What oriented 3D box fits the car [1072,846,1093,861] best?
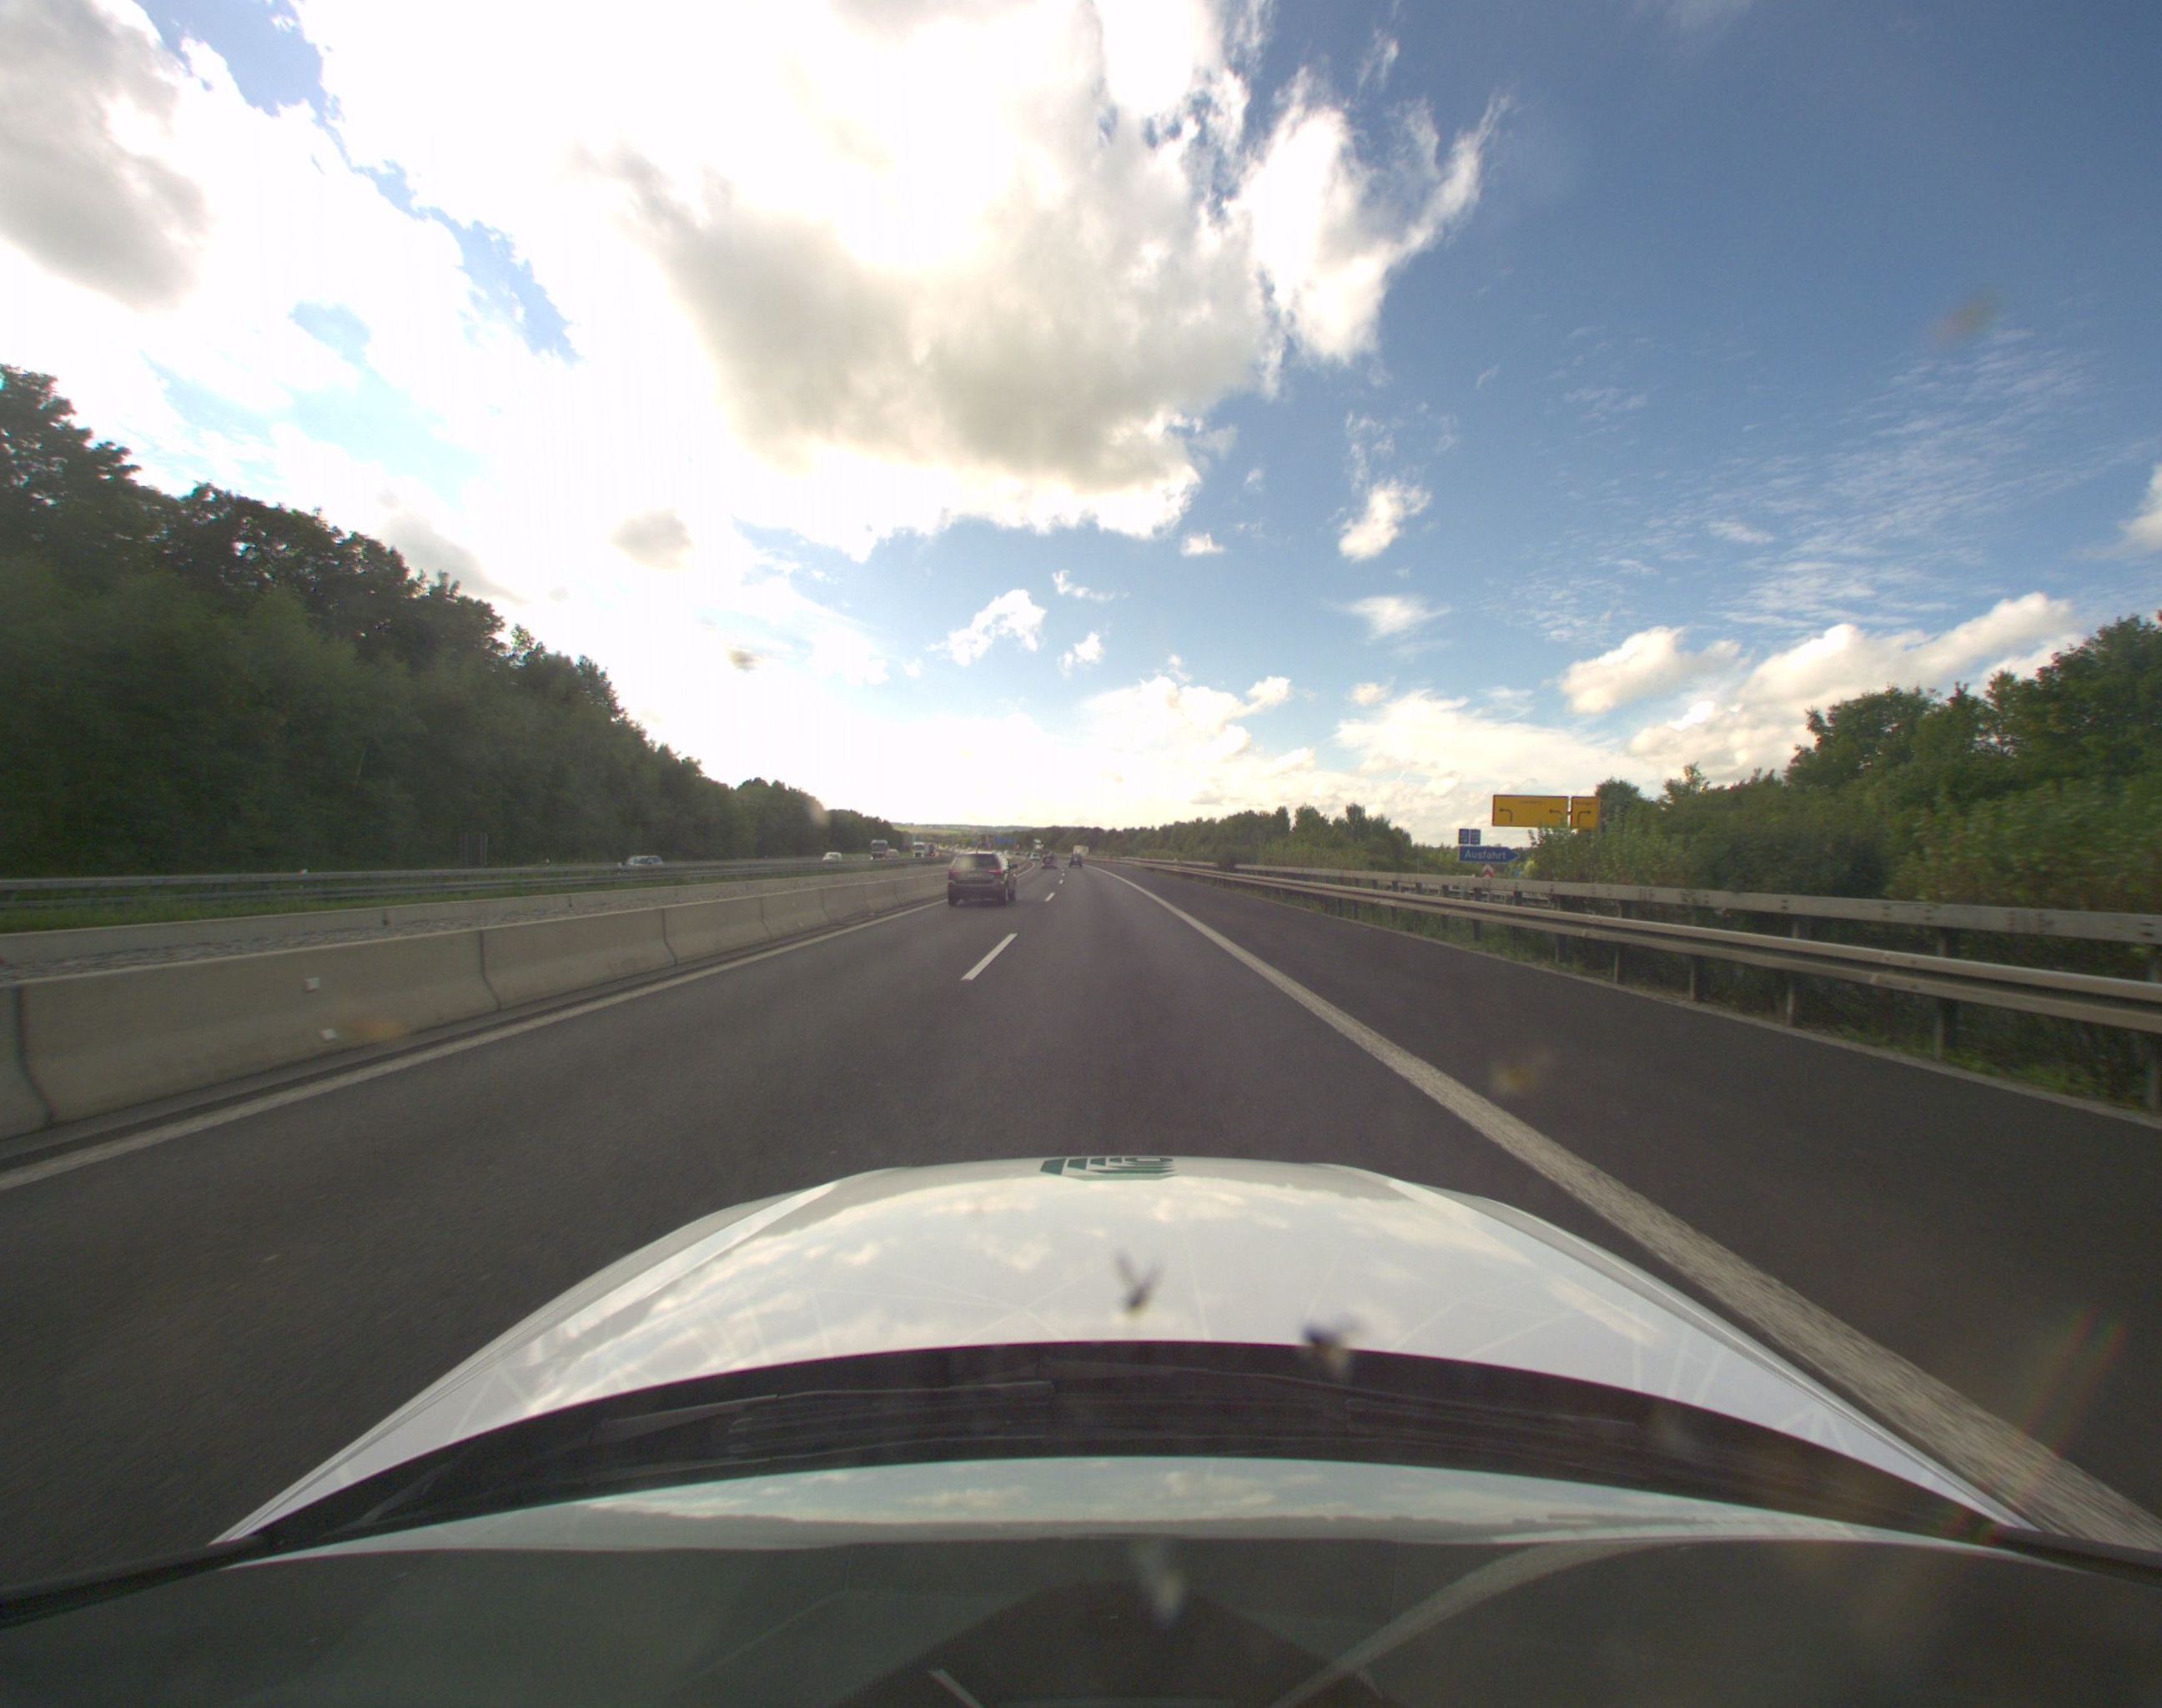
[{"bbox_3d":[0.464,-0.127,260.705,4.731,4.266,11.357,0,-1,-12],"label":"car"}]

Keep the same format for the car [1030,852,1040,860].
[{"bbox_3d":[-10.371,0.452,183.856,1.991,1.684,3.990,0,-1,-7],"label":"car"}]

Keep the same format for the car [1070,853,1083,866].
[{"bbox_3d":[-0.576,0.658,101.332,1.583,1.597,4.092,0,0,-2],"label":"car"}]

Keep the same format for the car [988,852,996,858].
[{"bbox_3d":[-23.235,0.337,213.389,1.870,1.447,5.116,0,-1,-3],"label":"car"}]

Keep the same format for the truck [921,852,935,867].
[{"bbox_3d":[-43.023,1.620,229.035,2.898,3.969,10.440,0,-1,-6],"label":"truck"}]

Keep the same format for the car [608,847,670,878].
[{"bbox_3d":[-29.695,0.563,54.880,1.987,2.013,4.000,0,0,0],"label":"car"}]

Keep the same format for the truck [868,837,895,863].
[{"bbox_3d":[-31.069,-0.611,127.084,2.803,3.826,7.121,0,0,-3],"label":"truck"}]

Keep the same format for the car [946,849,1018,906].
[{"bbox_3d":[-3.211,0.727,27.375,1.812,1.736,5.185,0,0,0],"label":"car"}]

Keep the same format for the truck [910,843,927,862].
[{"bbox_3d":[-38.629,-0.406,193.217,3.316,4.293,6.733,0,-1,-6],"label":"truck"}]

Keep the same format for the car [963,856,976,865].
[{"bbox_3d":[-19.658,1.145,144.055,1.708,1.528,4.763,0,-1,-2],"label":"car"}]

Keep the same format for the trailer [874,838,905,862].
[{"bbox_3d":[-31.387,-0.593,133.777,2.806,3.807,12.174,0,0,-3],"label":"trailer"}]

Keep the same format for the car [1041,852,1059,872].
[{"bbox_3d":[-3.538,0.885,93.141,2.024,2.151,3.998,0,0,-1],"label":"car"}]

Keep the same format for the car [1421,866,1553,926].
[{"bbox_3d":[11.995,1.176,24.402,1.779,1.571,4.342,0,0,-1],"label":"car"}]
